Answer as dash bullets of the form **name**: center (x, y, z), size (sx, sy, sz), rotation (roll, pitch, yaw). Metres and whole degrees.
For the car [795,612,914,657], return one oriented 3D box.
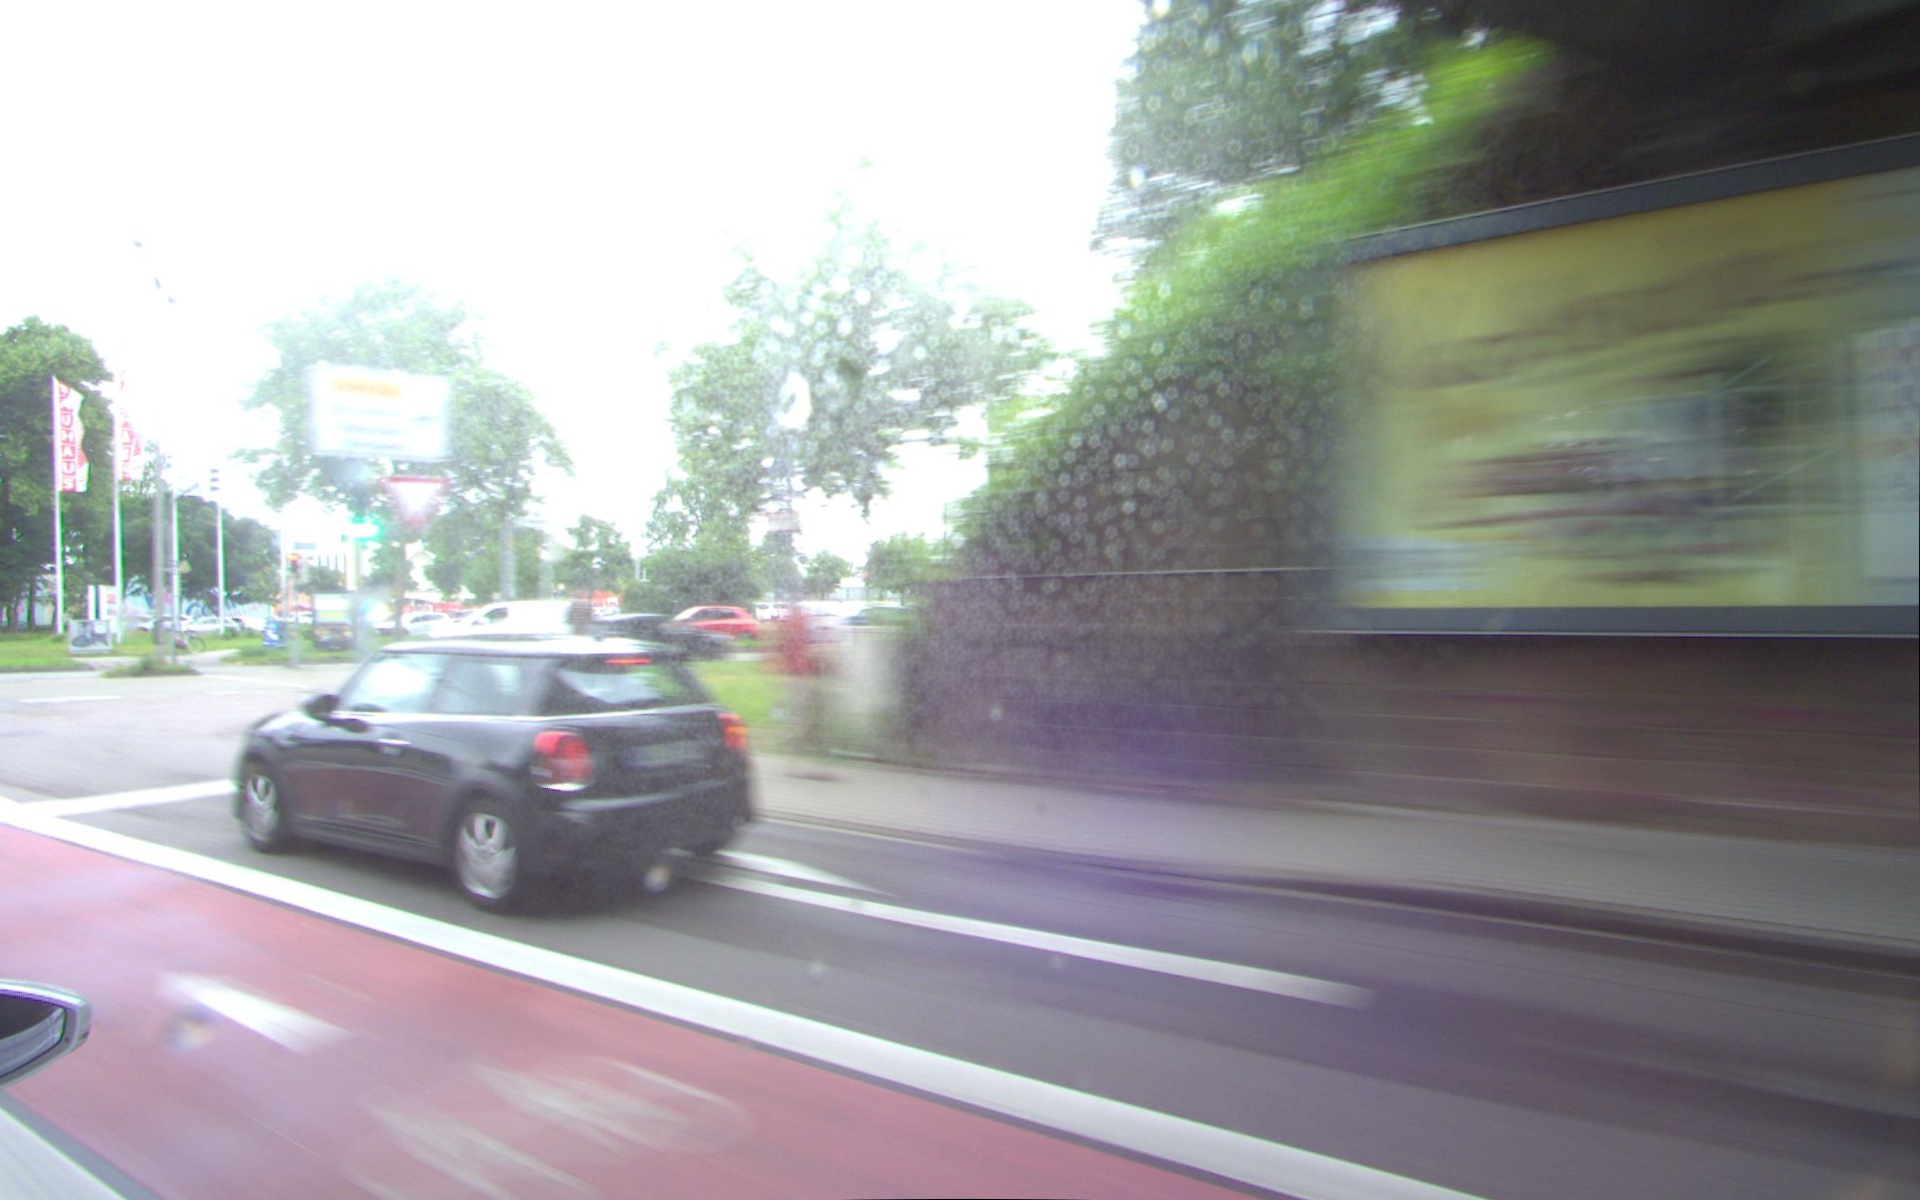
- **car**: center (-3.862, 1.235, 36.711), size (4.000, 1.502, 1.690), rotation (-1, 1, -24)

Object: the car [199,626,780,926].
- **car**: center (-3.151, 0.912, 6.555), size (3.719, 1.449, 1.677), rotation (-1, -3, 32)

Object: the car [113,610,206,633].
- **car**: center (-56.040, 1.545, 70.208), size (2.138, 1.516, 4.671), rotation (-1, -2, 29)

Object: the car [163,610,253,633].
- **car**: center (-50.350, 1.451, 67.111), size (1.901, 1.516, 4.443), rotation (-1, -2, 26)

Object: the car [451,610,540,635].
- **car**: center (-28.471, 1.376, 61.484), size (4.524, 1.516, 1.932), rotation (0, -1, -2)

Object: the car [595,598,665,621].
- **car**: center (-23.370, 0.664, 71.024), size (1.959, 1.527, 4.543), rotation (-1, 1, 32)

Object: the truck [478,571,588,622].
- **truck**: center (-32.382, -0.153, 75.805), size (9.114, 3.609, 2.935), rotation (-1, -2, 31)

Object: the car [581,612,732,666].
- **car**: center (-7.785, 0.975, 25.813), size (3.384, 1.297, 1.638), rotation (1, -1, -42)

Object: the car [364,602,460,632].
- **car**: center (-29.559, 0.951, 54.126), size (1.901, 1.516, 4.220), rotation (-1, -2, 27)

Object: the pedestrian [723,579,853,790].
- **pedestrian**: center (-1.554, 0.718, 9.058), size (0.865, 1.783, 0.780), rotation (-1, 1, -43)

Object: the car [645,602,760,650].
- **car**: center (-8.921, 0.873, 34.713), size (3.629, 1.552, 1.690), rotation (-1, 1, -24)

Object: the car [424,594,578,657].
- **car**: center (-14.678, 0.791, 32.155), size (4.352, 1.852, 1.873), rotation (-1, -1, -26)

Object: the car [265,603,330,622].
- **car**: center (-61.187, 1.139, 92.510), size (2.121, 1.699, 4.551), rotation (-1, 0, 26)

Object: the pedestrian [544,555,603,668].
- **pedestrian**: center (-5.888, 0.177, 15.239), size (0.733, 1.662, 0.775), rotation (-1, 1, -28)

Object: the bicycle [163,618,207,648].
- **bicycle**: center (-30.396, 1.278, 39.317), size (0.479, 1.133, 1.806), rotation (-1, 1, -7)
